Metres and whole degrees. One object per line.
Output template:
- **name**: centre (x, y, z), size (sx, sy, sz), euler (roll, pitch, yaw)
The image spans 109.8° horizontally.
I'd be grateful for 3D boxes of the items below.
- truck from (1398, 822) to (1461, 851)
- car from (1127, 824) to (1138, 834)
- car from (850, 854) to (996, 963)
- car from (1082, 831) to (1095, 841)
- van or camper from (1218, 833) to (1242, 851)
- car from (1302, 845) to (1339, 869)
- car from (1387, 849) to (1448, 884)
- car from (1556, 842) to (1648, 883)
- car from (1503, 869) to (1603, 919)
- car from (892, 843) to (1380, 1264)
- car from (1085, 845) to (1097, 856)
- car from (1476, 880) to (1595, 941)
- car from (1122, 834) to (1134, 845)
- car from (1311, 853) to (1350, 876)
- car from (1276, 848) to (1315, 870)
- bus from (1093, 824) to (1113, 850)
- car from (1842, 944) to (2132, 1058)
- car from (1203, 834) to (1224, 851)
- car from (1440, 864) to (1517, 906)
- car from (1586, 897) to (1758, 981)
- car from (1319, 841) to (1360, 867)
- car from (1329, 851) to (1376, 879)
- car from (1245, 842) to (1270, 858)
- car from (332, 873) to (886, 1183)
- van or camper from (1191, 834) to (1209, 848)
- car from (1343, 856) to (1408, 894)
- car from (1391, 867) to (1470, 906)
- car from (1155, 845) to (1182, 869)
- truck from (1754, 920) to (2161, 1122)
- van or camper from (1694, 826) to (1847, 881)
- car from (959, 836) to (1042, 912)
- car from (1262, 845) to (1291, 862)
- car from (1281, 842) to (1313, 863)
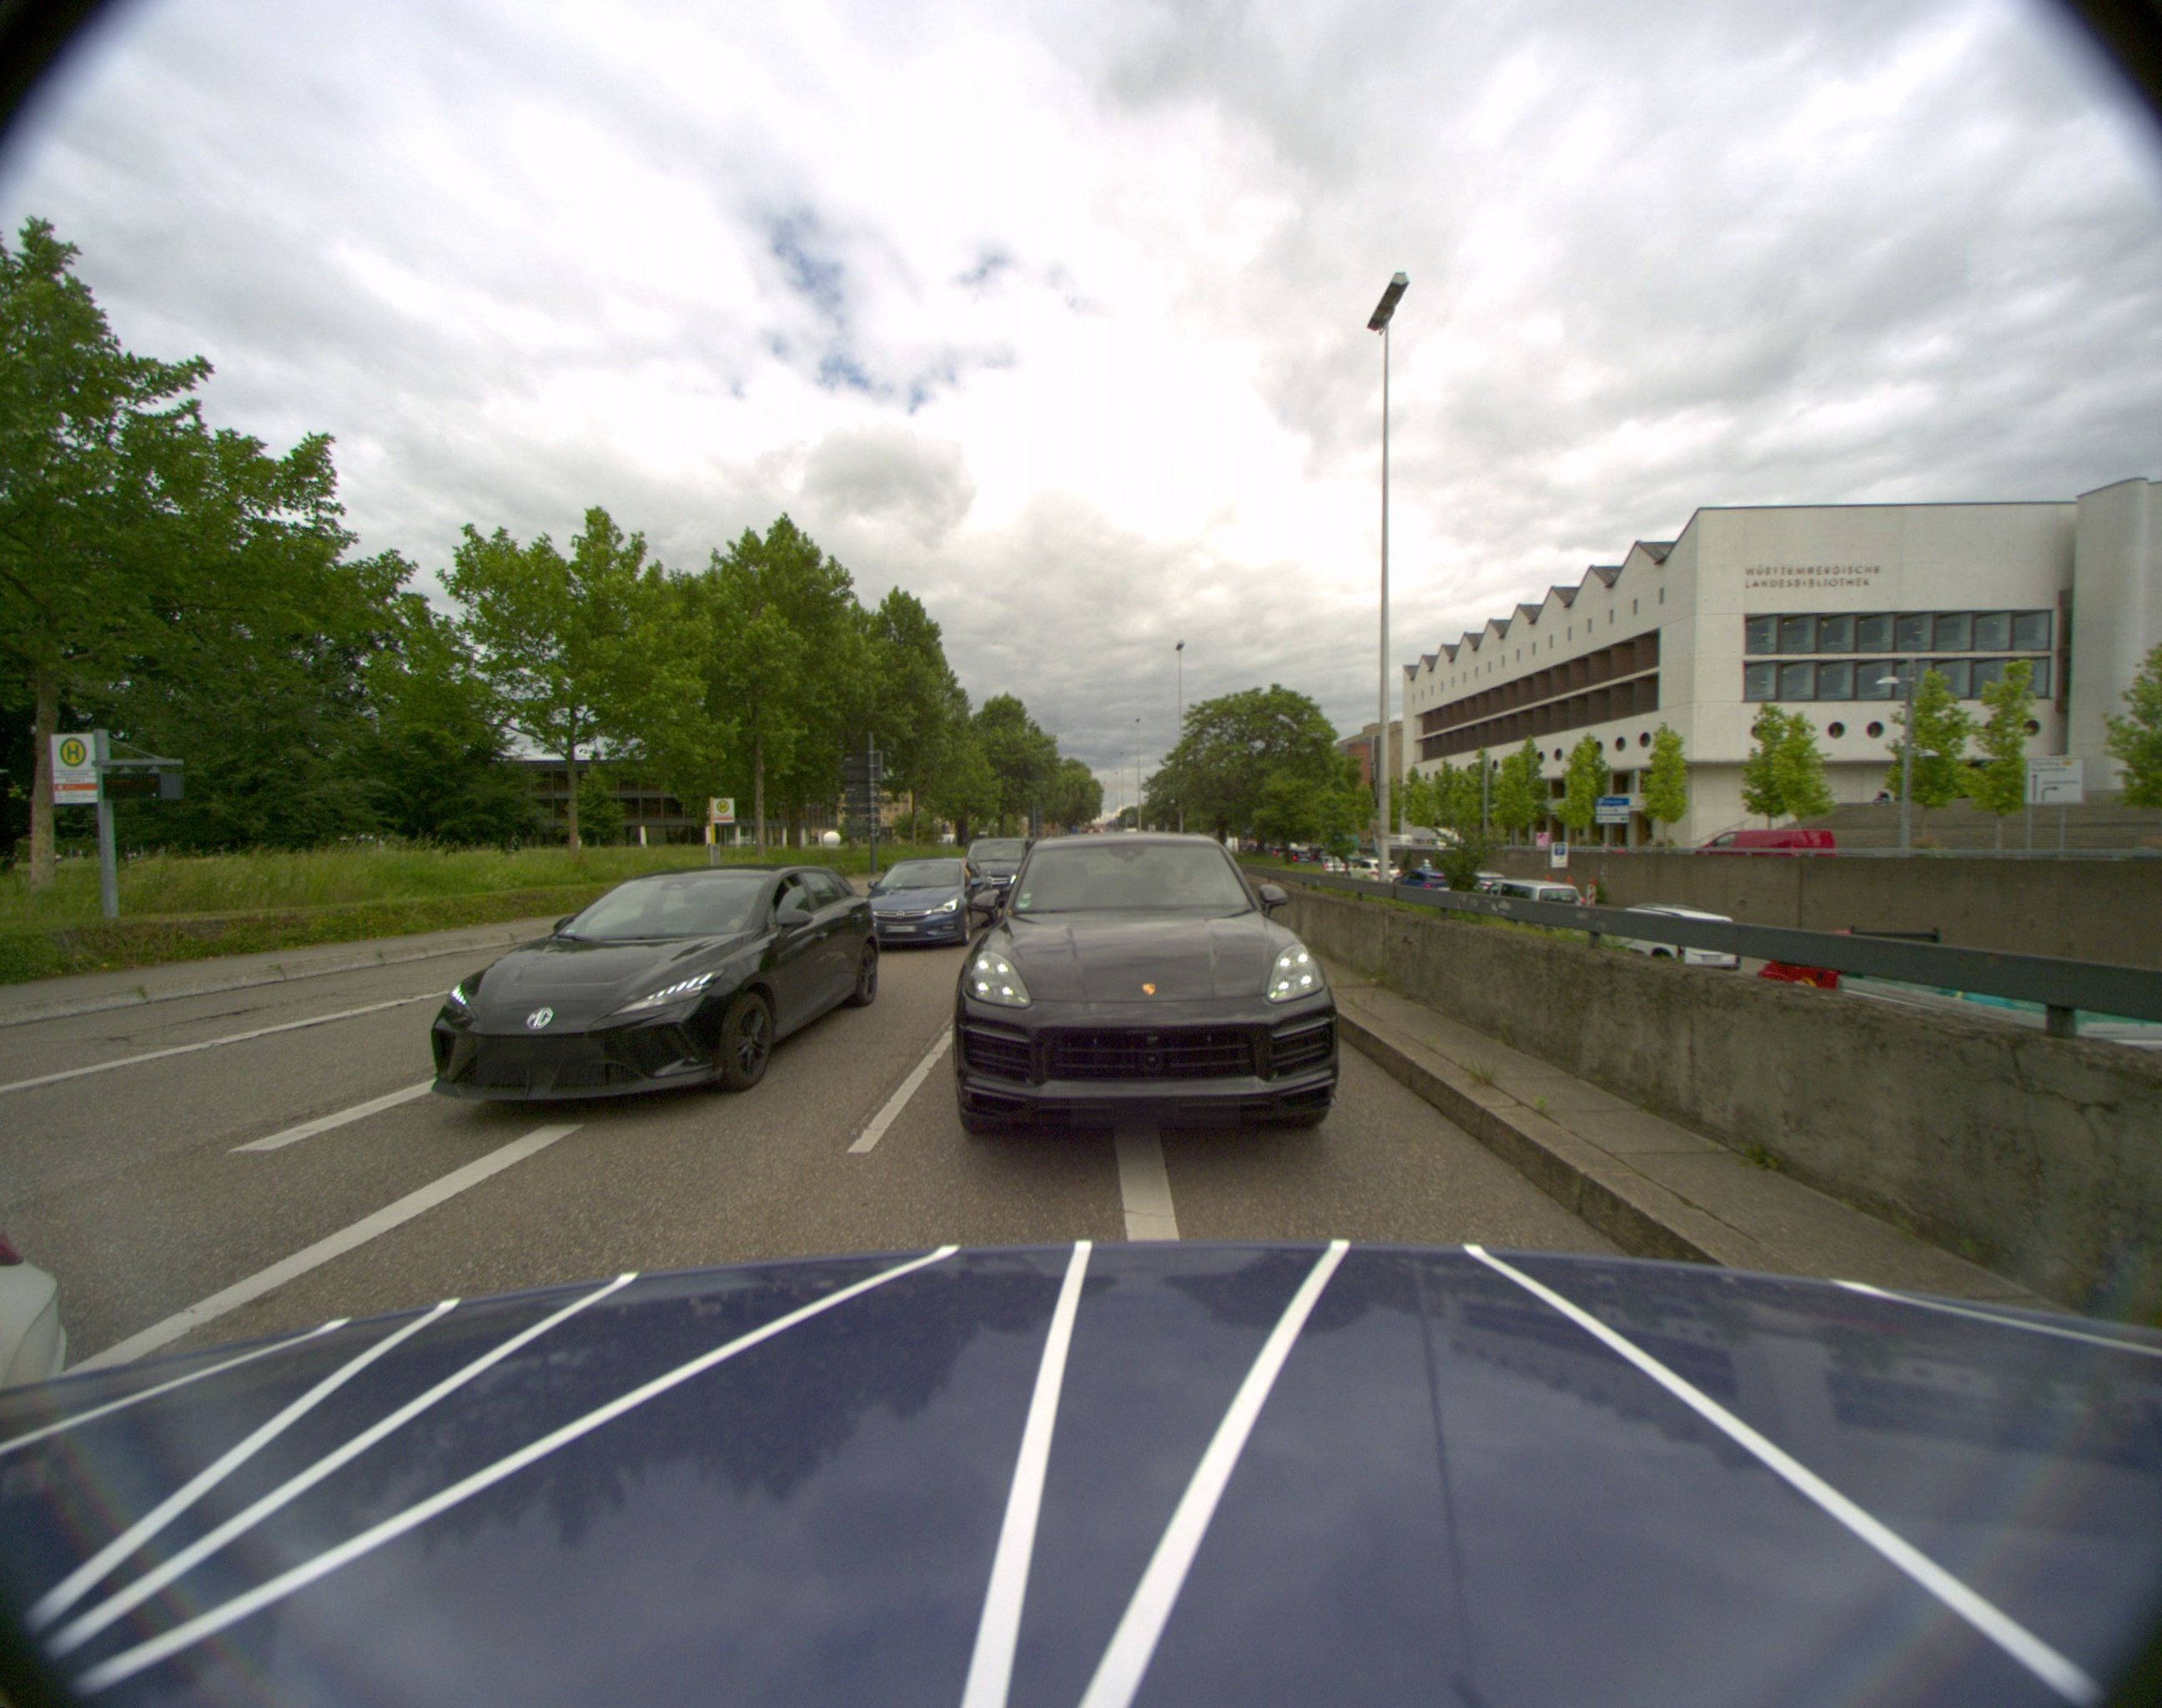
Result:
- **truck**: centre (27.878, -1.344, 60.990), size (2.002, 2.145, 5.616), euler (-2, 0, -5)
- **car**: centre (10.731, -5.240, 157.911), size (1.997, 2.002, 4.002), euler (-2, 1, 9)
- **car**: centre (-2.590, 0.821, 13.379), size (1.573, 1.528, 4.001), euler (-2, 1, 2)
- **car**: centre (1.467, -3.600, 151.794), size (1.997, 2.002, 4.002), euler (-2, 0, 9)
- **van or camper**: centre (17.059, -1.347, 87.150), size (2.036, 2.002, 4.000), euler (-2, 0, 1)
- **car**: centre (21.287, 0.232, 67.606), size (1.998, 2.002, 4.000), euler (2, 0, 1)
- **car**: centre (20.964, 0.744, 47.538), size (1.998, 2.002, 4.000), euler (2, 0, 1)
- **car**: centre (27.240, 0.396, 39.912), size (1.999, 2.002, 3.999), euler (-2, 1, -1)
- **car**: centre (21.258, 1.746, 34.449), size (1.998, 2.002, 4.000), euler (2, 0, 1)
- **car**: centre (0.255, 0.812, 5.431), size (1.937, 1.668, 4.679), euler (-2, 0, 1)
- **car**: centre (1.340, -0.456, 99.180), size (1.565, 1.409, 3.619), euler (-2, 0, 1)
- **car**: centre (17.588, 2.113, 29.697), size (1.998, 2.002, 4.332), euler (2, 0, 1)
- **car**: centre (9.231, -2.828, 149.746), size (1.998, 2.002, 4.000), euler (-1, 0, 1)
- **car**: centre (17.523, 0.720, 53.526), size (1.675, 1.477, 3.361), euler (-1, 1, 1)
- **car**: centre (17.240, 0.410, 61.315), size (1.998, 1.650, 4.000), euler (-1, 0, 1)
- **bus**: centre (3.746, -2.927, 131.509), size (3.043, 4.328, 8.748), euler (-1, 1, 0)
- **car**: centre (20.338, 3.216, 17.366), size (1.999, 1.805, 3.864), euler (-1, 0, -1)
- **car**: centre (17.197, -1.435, 98.867), size (1.998, 2.002, 4.000), euler (-5, 0, 1)
- **car**: centre (21.016, 1.611, 40.364), size (1.998, 2.002, 4.000), euler (2, 0, 1)
- **car**: centre (17.464, 2.429, 22.761), size (1.998, 2.002, 4.000), euler (2, 0, 1)
- **car**: centre (21.338, 0.013, 62.878), size (1.998, 2.002, 4.000), euler (2, 0, 1)
- **car**: centre (20.979, 0.806, 58.977), size (1.998, 2.002, 4.655), euler (-2, 0, 1)
- **car**: centre (17.239, -0.364, 74.448), size (1.675, 1.477, 3.361), euler (-2, 0, 1)
- **car**: centre (-3.077, 0.996, 6.161), size (1.829, 1.515, 4.119), euler (-2, 0, 1)
- **van or camper**: centre (17.391, -1.855, 111.337), size (2.036, 2.002, 4.000), euler (-2, 0, 1)
- **car**: centre (17.610, 1.198, 45.637), size (1.998, 2.119, 4.852), euler (2, 0, 1)
- **car**: centre (17.600, 1.606, 38.531), size (1.998, 1.733, 4.281), euler (2, 0, 1)
- **car**: centre (7.884, 0.264, 68.895), size (1.998, 2.002, 3.999), euler (-2, 1, 1)
- **truck**: centre (17.275, 2.950, 15.234), size (2.324, 2.675, 5.979), euler (-2, 0, 1)
- **van or camper**: centre (27.755, -0.014, 30.846), size (1.999, 2.002, 4.556), euler (-1, 0, -1)
- **car**: centre (-2.131, 0.476, 21.182), size (1.723, 1.851, 4.430), euler (-2, 1, 1)
- **car**: centre (17.331, -0.047, 67.418), size (1.675, 1.477, 3.361), euler (-2, 0, 1)
- **car**: centre (21.372, -0.151, 75.214), size (1.998, 2.002, 4.000), euler (2, 0, 1)
